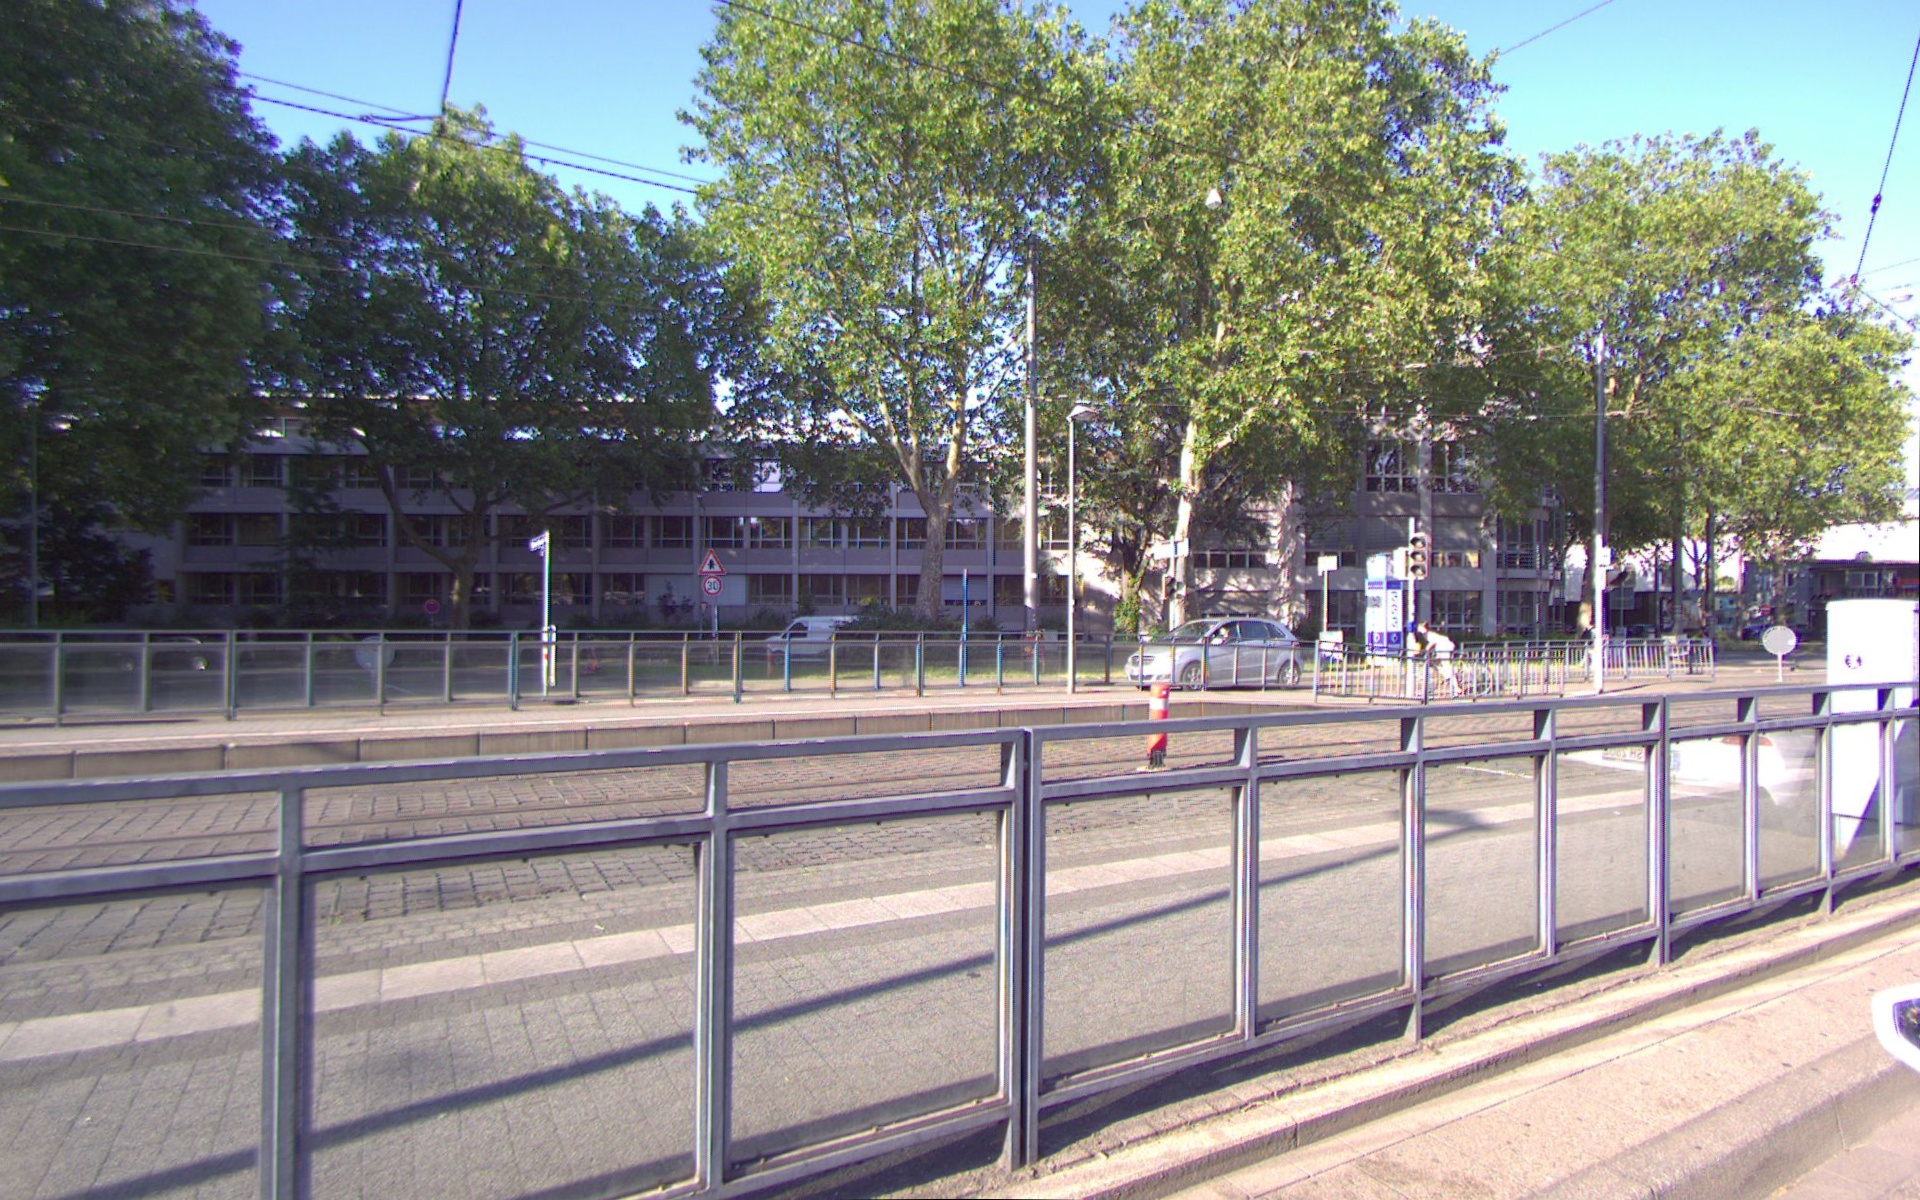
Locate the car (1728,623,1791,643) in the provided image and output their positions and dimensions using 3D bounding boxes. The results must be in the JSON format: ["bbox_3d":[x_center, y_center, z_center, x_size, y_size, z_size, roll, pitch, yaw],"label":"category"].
[{"bbox_3d":[65.014,2.652,81.712,3.925,1.530,1.798,1,-1,-6],"label":"car"}]

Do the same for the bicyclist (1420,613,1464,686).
[{"bbox_3d":[9.776,0.991,20.382,0.787,1.433,0.527,1,0,25],"label":"bicyclist"}]

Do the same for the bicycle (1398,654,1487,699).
[{"bbox_3d":[9.769,1.539,20.381,1.586,0.827,0.527,0,-1,25],"label":"bicycle"}]

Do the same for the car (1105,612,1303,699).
[{"bbox_3d":[5.395,1.174,22.099,4.111,1.715,1.807,1,0,-30],"label":"car"}]

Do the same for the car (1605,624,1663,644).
[{"bbox_3d":[55.506,2.746,82.782,1.767,1.530,3.994,1,-1,-8],"label":"car"}]

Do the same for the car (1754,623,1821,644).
[{"bbox_3d":[65.001,2.633,78.927,3.925,1.530,1.798,1,-1,-6],"label":"car"}]

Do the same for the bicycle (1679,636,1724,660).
[{"bbox_3d":[37.016,2.405,50.140,0.494,1.122,1.788,1,-1,-27],"label":"bicycle"}]

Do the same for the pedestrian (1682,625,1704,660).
[{"bbox_3d":[36.532,2.117,50.047,0.642,1.683,0.646,1,0,-27],"label":"pedestrian"}]

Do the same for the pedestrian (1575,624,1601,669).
[{"bbox_3d":[22.220,1.633,35.558,0.669,1.572,0.533,1,0,-30],"label":"pedestrian"}]

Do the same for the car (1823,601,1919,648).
[{"bbox_3d":[65.310,1.735,71.269,6.413,3.207,2.501,1,-1,-7],"label":"car"}]

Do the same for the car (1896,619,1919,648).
[{"bbox_3d":[65.951,2.278,68.032,3.929,1.982,1.796,1,-1,-11],"label":"car"}]

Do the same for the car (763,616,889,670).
[{"bbox_3d":[-6.157,1.960,46.453,5.616,2.366,2.156,1,0,-7],"label":"car"}]
